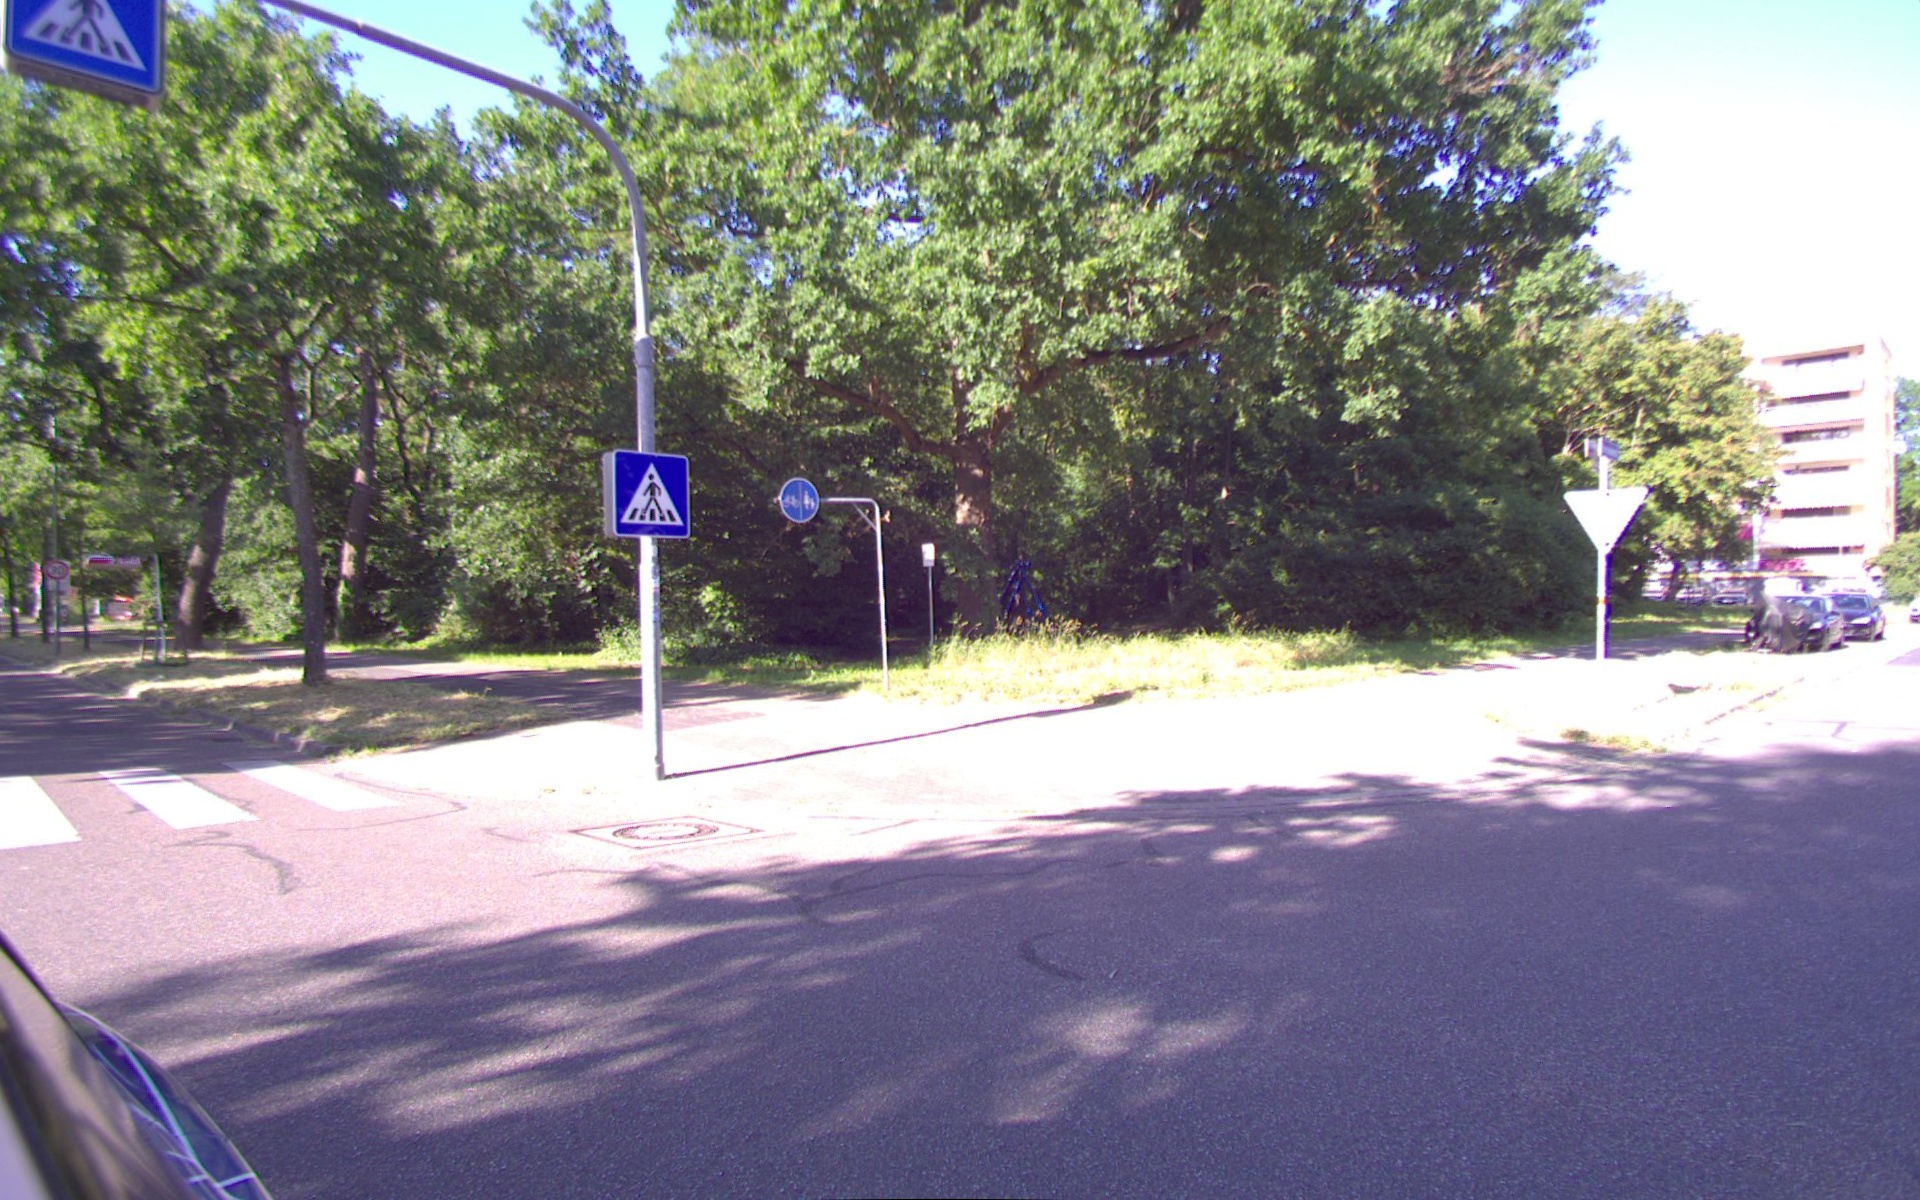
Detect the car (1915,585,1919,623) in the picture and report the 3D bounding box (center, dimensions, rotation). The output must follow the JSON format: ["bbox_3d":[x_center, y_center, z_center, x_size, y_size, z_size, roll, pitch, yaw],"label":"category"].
[{"bbox_3d":[41.446,0.126,42.574,3.779,1.569,1.647,-1,0,-44],"label":"car"}]

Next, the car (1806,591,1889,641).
[{"bbox_3d":[26.671,0.451,30.382,3.535,1.402,1.561,-1,0,-44],"label":"car"}]

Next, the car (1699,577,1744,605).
[{"bbox_3d":[49.845,-0.584,66.194,3.779,1.757,1.764,-1,0,-44],"label":"car"}]

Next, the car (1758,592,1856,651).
[{"bbox_3d":[22.117,0.524,26.390,3.535,1.402,1.561,-1,0,-44],"label":"car"}]

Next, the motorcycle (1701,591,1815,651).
[{"bbox_3d":[18.657,0.491,23.696,1.944,1.354,0.672,-1,0,16],"label":"motorcycle"}]

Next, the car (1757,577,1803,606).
[{"bbox_3d":[51.639,-0.561,63.730,3.779,1.757,1.764,-1,0,-44],"label":"car"}]

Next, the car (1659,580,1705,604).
[{"bbox_3d":[48.160,-0.541,67.479,3.779,1.538,1.802,-1,0,-44],"label":"car"}]
